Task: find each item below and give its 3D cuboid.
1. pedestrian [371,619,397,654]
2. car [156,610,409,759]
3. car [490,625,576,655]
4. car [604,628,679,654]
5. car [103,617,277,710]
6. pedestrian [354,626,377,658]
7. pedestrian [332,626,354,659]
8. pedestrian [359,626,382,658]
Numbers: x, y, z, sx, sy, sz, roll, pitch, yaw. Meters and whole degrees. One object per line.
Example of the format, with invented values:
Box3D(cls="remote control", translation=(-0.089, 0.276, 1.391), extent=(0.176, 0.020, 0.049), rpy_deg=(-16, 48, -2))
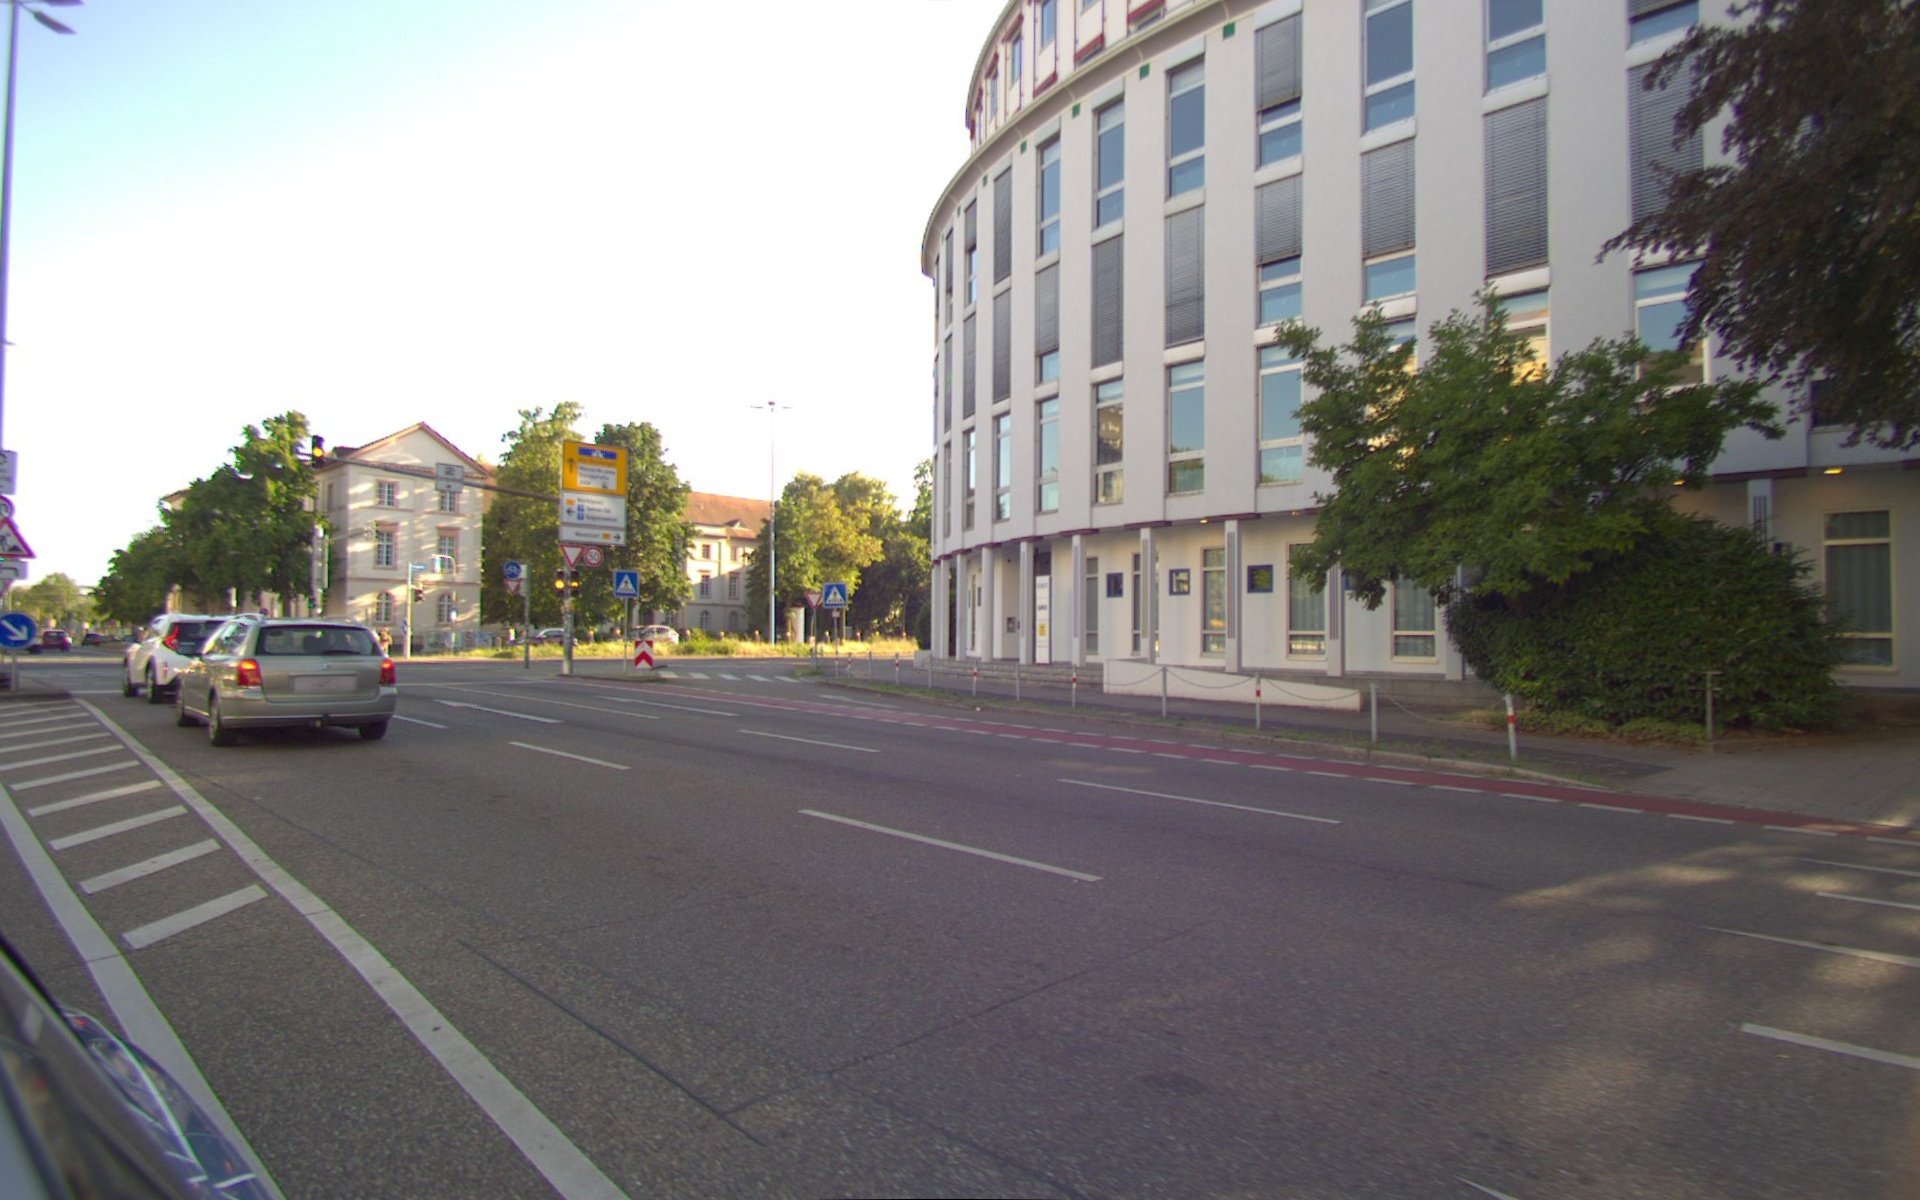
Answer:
Box3D(cls="pedestrian", translation=(-31.682, 2.010, 55.659), extent=(1.167, 1.863, 0.811), rpy_deg=(-2, -3, 34))
Box3D(cls="car", translation=(-8.606, 0.944, 12.676), extent=(1.806, 1.526, 4.607), rpy_deg=(2, -3, -44))
Box3D(cls="car", translation=(-22.079, 2.055, 52.440), extent=(1.998, 1.457, 3.600), rpy_deg=(-2, -3, 38))
Box3D(cls="car", translation=(-18.205, 2.343, 57.983), extent=(1.998, 1.457, 3.600), rpy_deg=(-2, -3, 38))
Box3D(cls="car", translation=(-13.776, 1.077, 18.040), extent=(3.902, 1.472, 1.808), rpy_deg=(-2, -3, 43))
Box3D(cls="pedestrian", translation=(-32.303, 2.259, 54.960), extent=(1.082, 1.721, 0.670), rpy_deg=(-2, -3, 34))
Box3D(cls="pedestrian", translation=(-31.224, 2.145, 51.192), extent=(0.887, 1.663, 0.614), rpy_deg=(-2, -3, 34))
Box3D(cls="pedestrian", translation=(-30.373, 2.157, 52.120), extent=(0.881, 1.663, 0.670), rpy_deg=(-2, -3, 34))
